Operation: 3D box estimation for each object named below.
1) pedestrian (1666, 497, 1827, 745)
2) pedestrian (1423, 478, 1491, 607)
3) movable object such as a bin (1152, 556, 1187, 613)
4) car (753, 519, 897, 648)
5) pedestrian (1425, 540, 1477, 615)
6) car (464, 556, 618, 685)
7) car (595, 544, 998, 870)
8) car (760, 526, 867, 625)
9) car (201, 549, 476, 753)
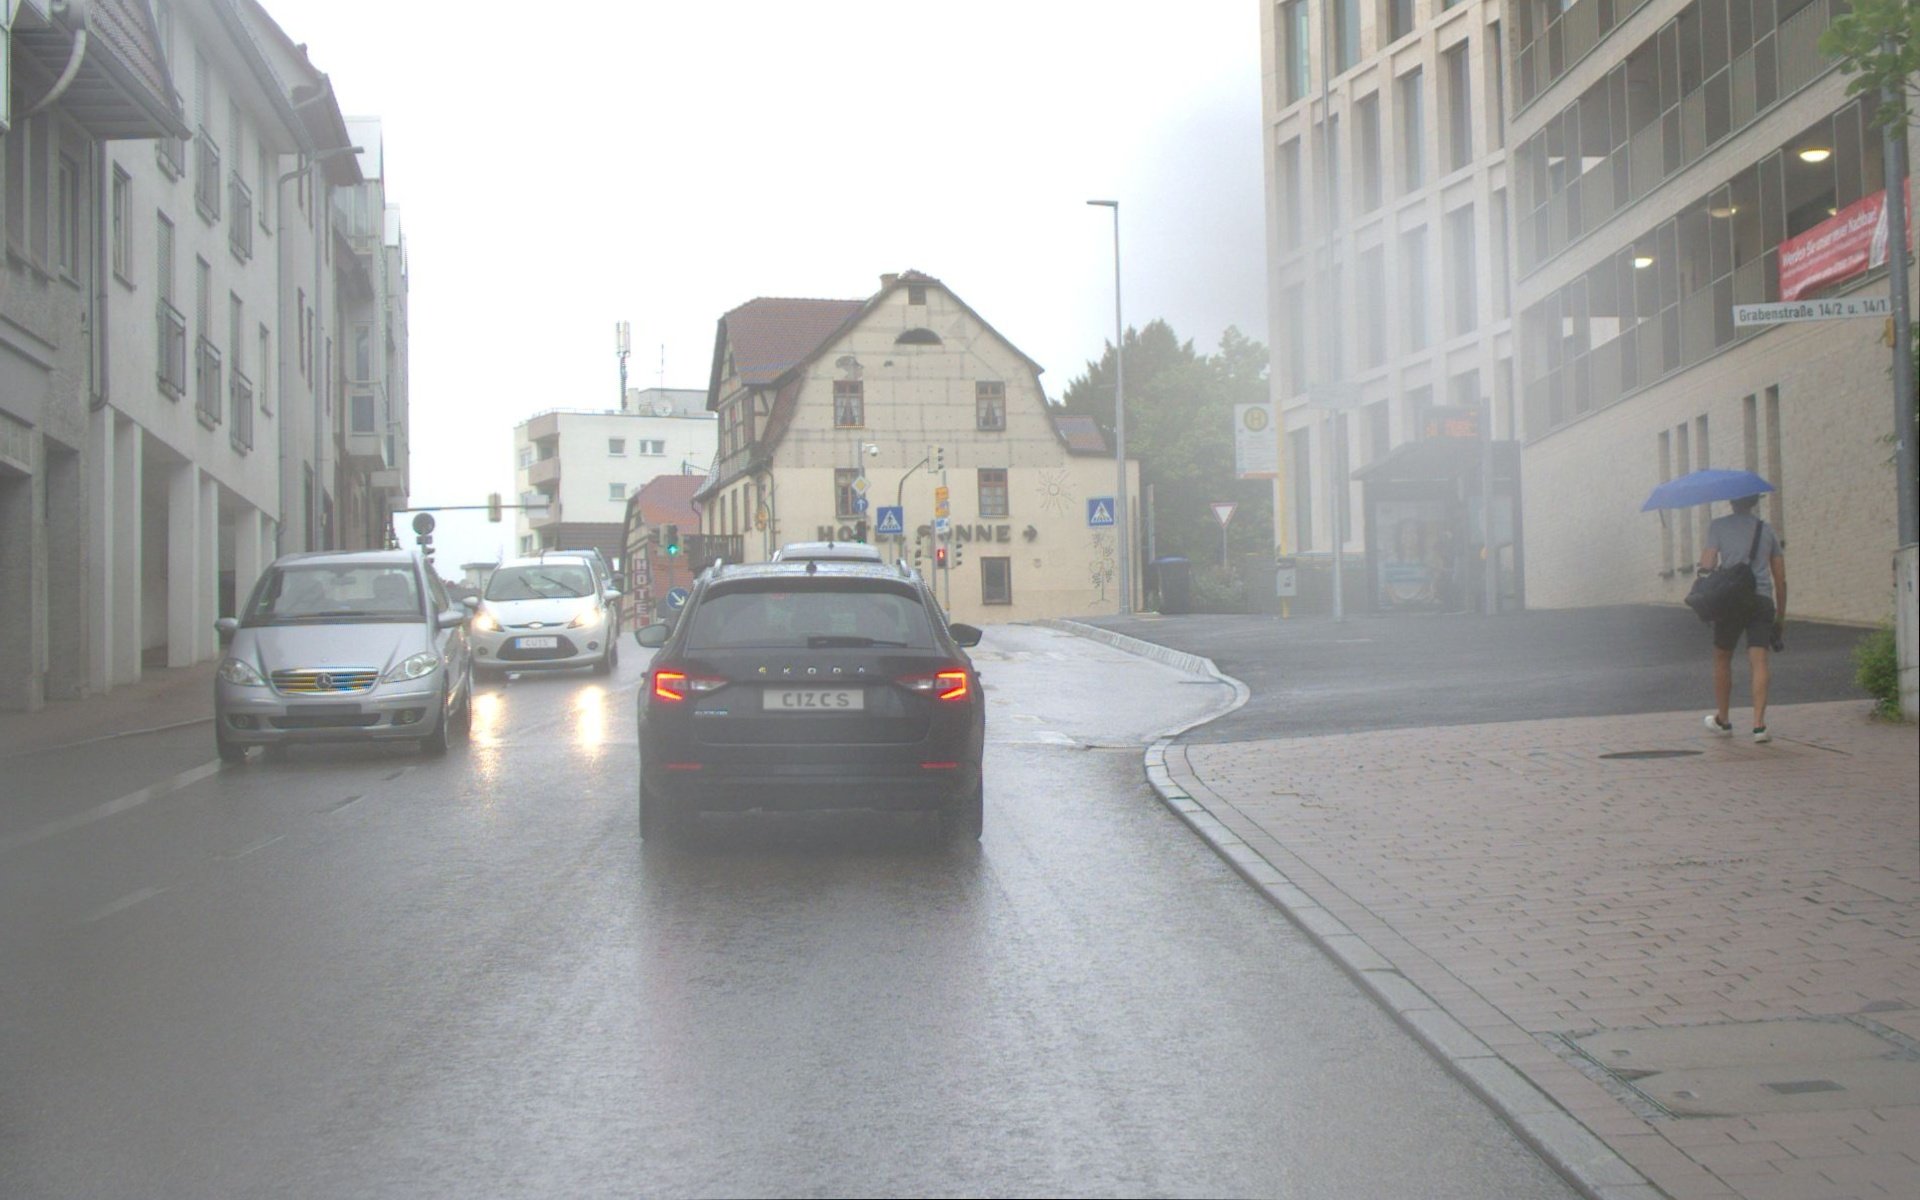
[{"bbox_3d":[5.130,0.127,22.471,0.736,1.537,1.038,-4,0,2],"label":"pedestrian"},{"bbox_3d":[7.658,-0.877,53.007,0.782,1.933,1.021,-3,0,-1],"label":"pedestrian"},{"bbox_3d":[3.980,-0.298,65.401,0.595,1.058,0.579,-1,1,-2],"label":"movable object such as a bin"},{"bbox_3d":[-1.731,-0.223,43.042,1.677,1.505,3.589,-1,1,-4],"label":"car"},{"bbox_3d":[7.797,-0.355,54.614,0.672,1.158,0.635,-3,0,-1],"label":"pedestrian"},{"bbox_3d":[-5.170,0.219,42.749,1.677,1.505,3.589,-1,1,-4],"label":"car"},{"bbox_3d":[-0.952,0.491,19.003,1.944,1.561,4.418,-1,1,-4],"label":"car"},{"bbox_3d":[-2.440,-0.424,57.895,1.680,1.554,4.000,-2,1,-2],"label":"car"},{"bbox_3d":[-4.938,0.361,27.721,1.677,1.505,3.589,-1,1,-2],"label":"car"}]
